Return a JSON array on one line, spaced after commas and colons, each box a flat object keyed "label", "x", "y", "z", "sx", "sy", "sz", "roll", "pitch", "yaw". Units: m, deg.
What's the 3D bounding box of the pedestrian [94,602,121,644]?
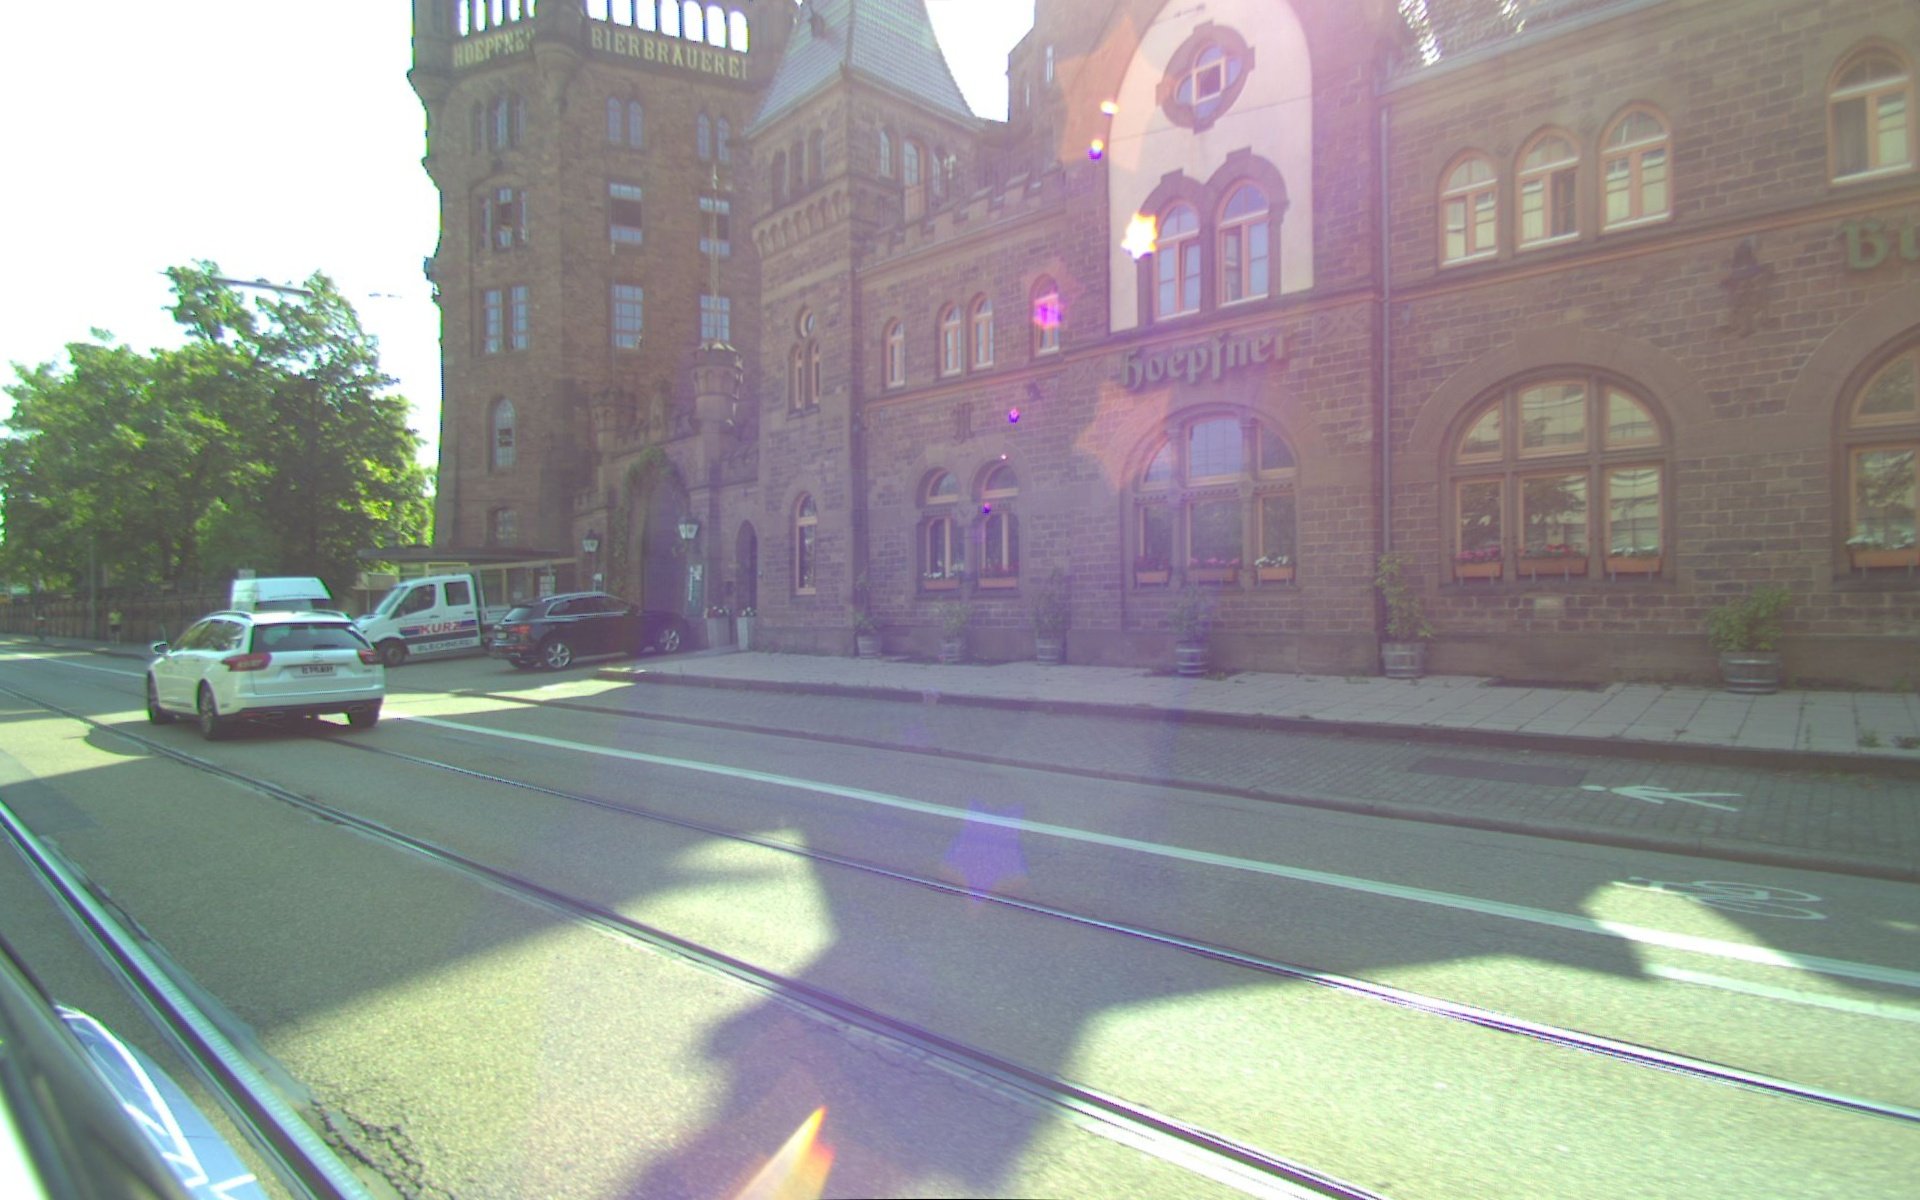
[{"label": "pedestrian", "x": -41.704, "y": 1.125, "z": 49.497, "sx": 0.982, "sy": 2.029, "sz": 0.855, "roll": -1, "pitch": 0, "yaw": 39}]

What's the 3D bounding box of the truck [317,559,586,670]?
[{"label": "truck", "x": -14.023, "y": 0.315, "z": 28.270, "sx": 6.248, "sy": 2.557, "sz": 2.132, "roll": -5, "pitch": 1, "yaw": -44}]

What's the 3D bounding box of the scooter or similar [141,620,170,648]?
[{"label": "scooter or similar", "x": -34.258, "y": 1.439, "z": 43.087, "sx": 1.309, "sy": 1.187, "sz": 0.418, "roll": -1, "pitch": 0, "yaw": 26}]

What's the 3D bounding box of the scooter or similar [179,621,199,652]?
[{"label": "scooter or similar", "x": -30.830, "y": 1.458, "z": 40.474, "sx": 0.334, "sy": 1.187, "sz": 1.182, "roll": -1, "pitch": 0, "yaw": -23}]

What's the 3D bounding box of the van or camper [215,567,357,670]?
[{"label": "van or camper", "x": -19.579, "y": 0.521, "z": 29.270, "sx": 5.955, "sy": 2.695, "sz": 2.090, "roll": -1, "pitch": 0, "yaw": 43}]

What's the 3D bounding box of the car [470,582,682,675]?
[{"label": "car", "x": -8.857, "y": 0.591, "z": 23.572, "sx": 2.000, "sy": 1.756, "sz": 4.092, "roll": -1, "pitch": 3, "yaw": 42}]

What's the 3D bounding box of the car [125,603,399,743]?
[{"label": "car", "x": -9.214, "y": 0.866, "z": 13.175, "sx": 4.866, "sy": 1.503, "sz": 1.827, "roll": -1, "pitch": -4, "yaw": 42}]

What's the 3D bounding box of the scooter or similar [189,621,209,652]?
[{"label": "scooter or similar", "x": -29.898, "y": 1.438, "z": 39.761, "sx": 0.334, "sy": 1.187, "sz": 1.182, "roll": -1, "pitch": 0, "yaw": -23}]

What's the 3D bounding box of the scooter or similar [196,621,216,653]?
[{"label": "scooter or similar", "x": -29.061, "y": 1.421, "z": 38.995, "sx": 0.334, "sy": 1.187, "sz": 1.182, "roll": -1, "pitch": 0, "yaw": -23}]
